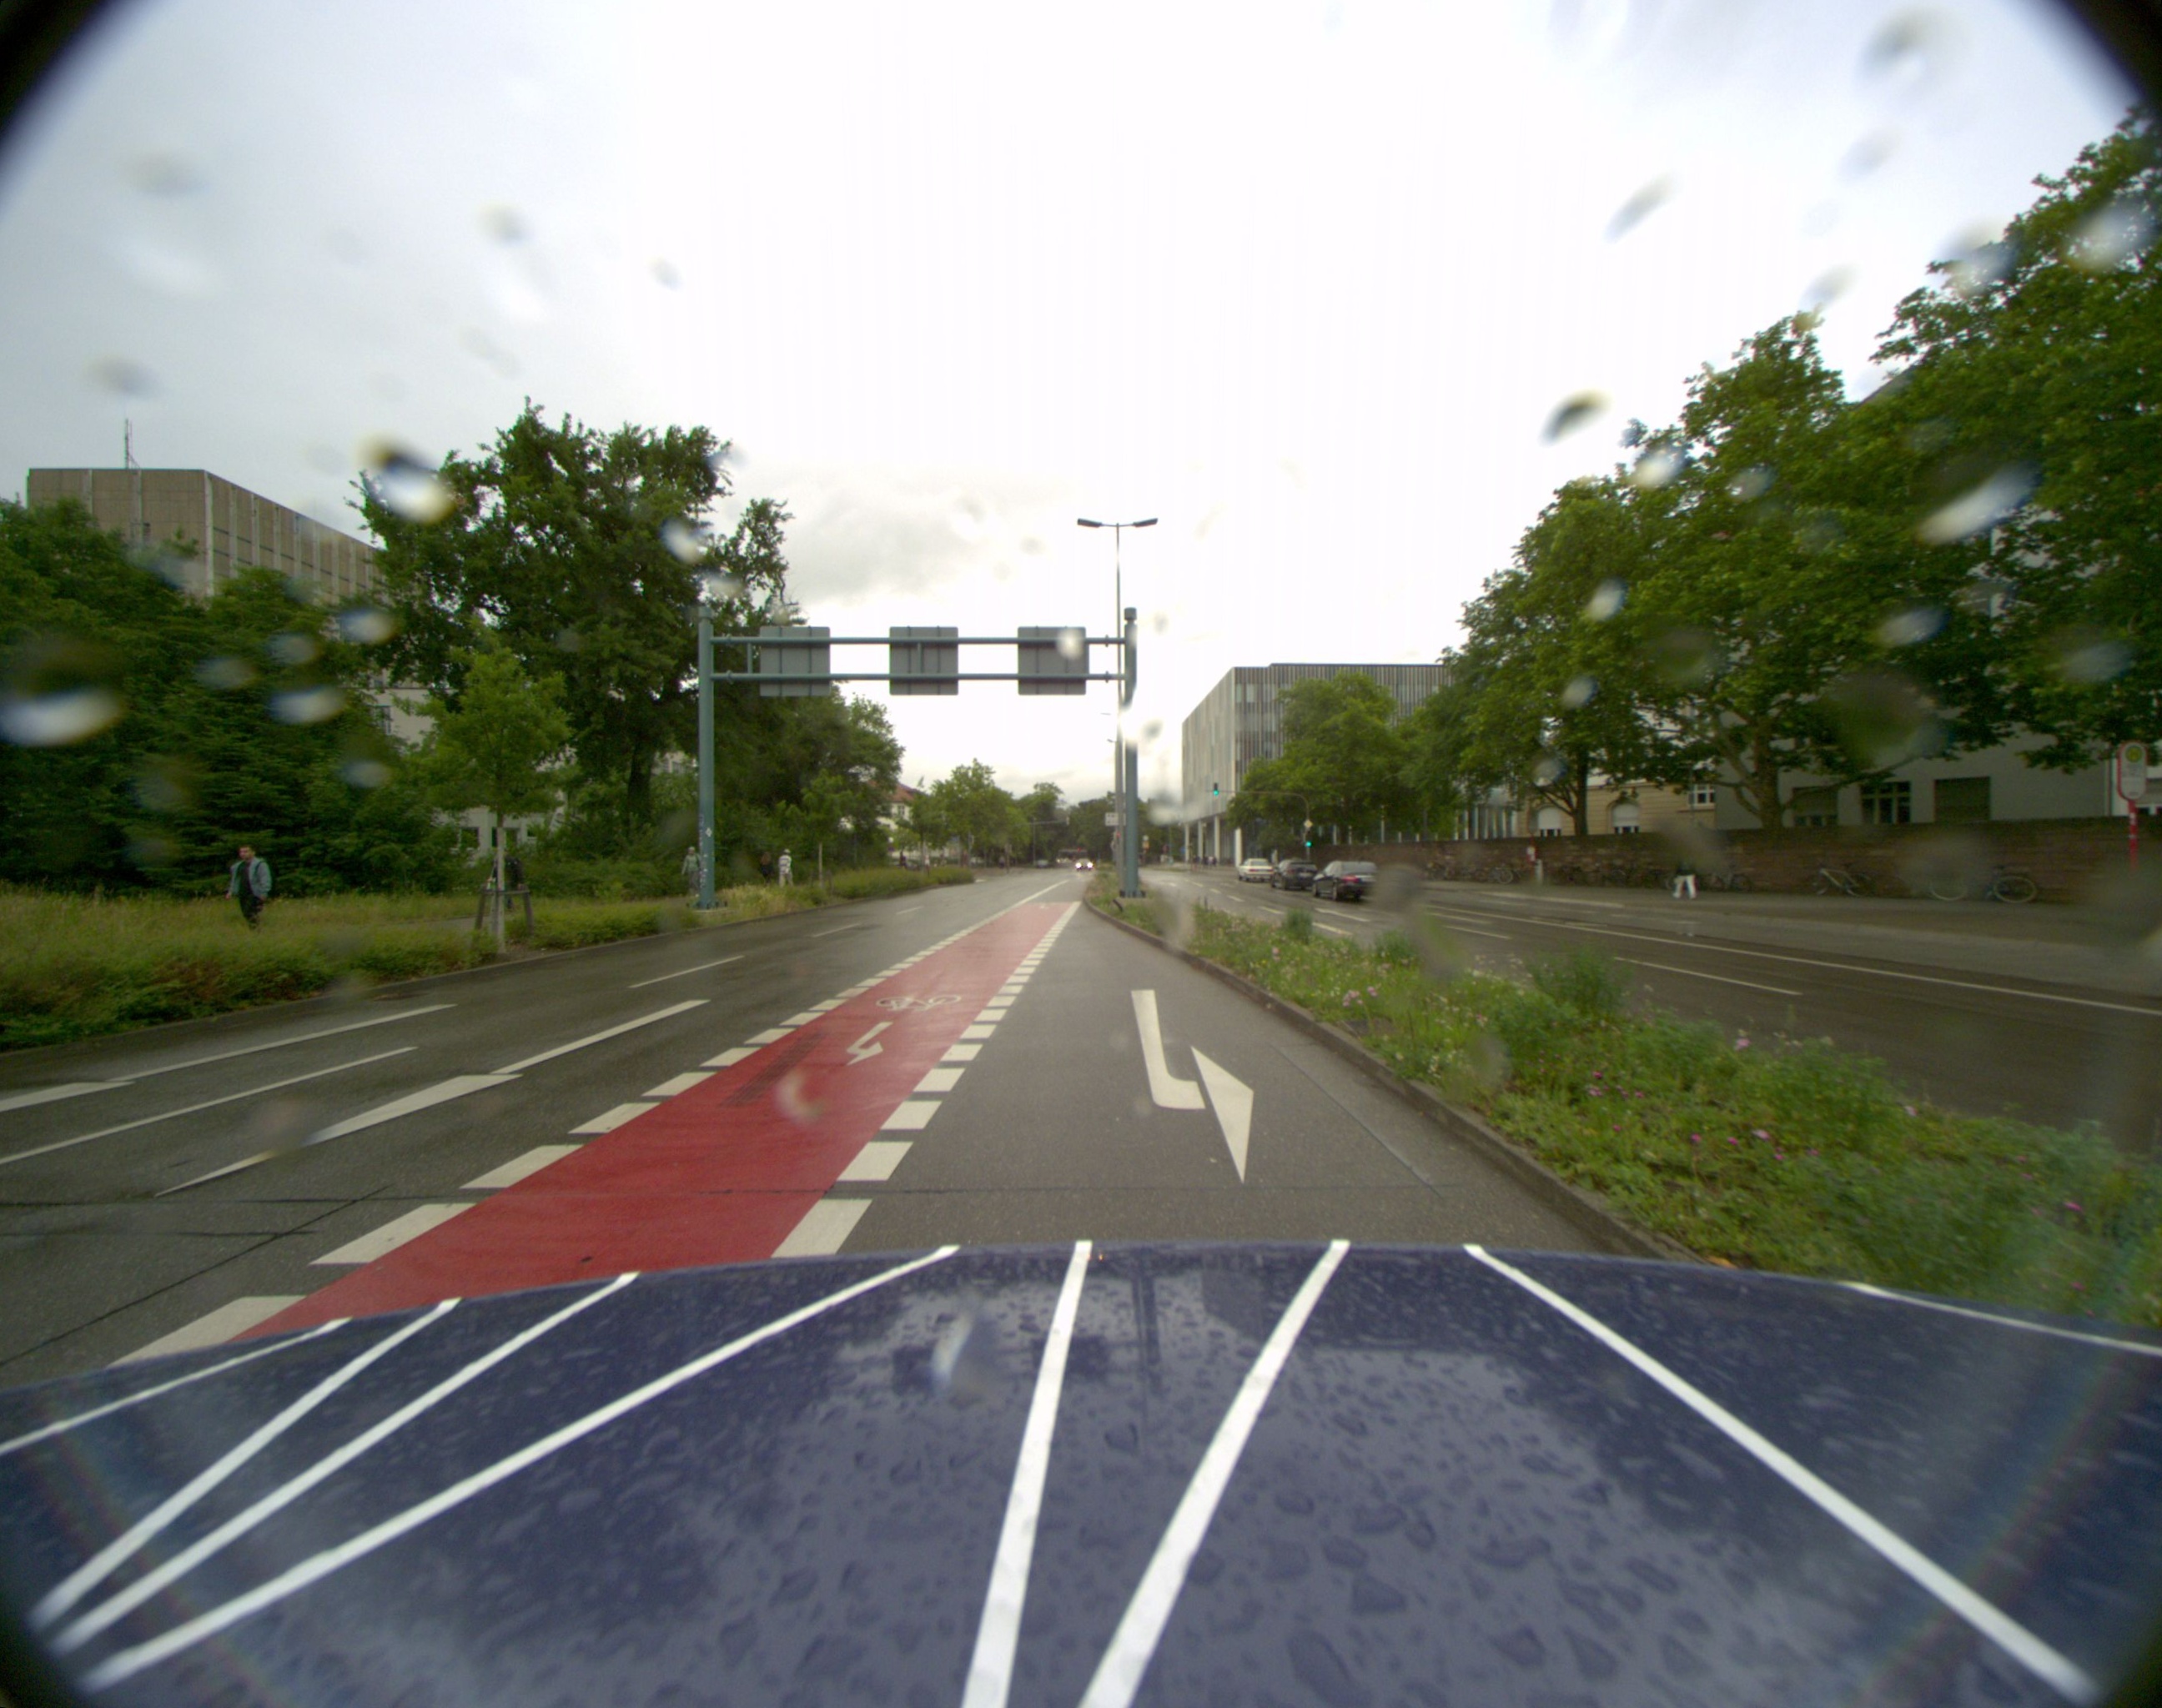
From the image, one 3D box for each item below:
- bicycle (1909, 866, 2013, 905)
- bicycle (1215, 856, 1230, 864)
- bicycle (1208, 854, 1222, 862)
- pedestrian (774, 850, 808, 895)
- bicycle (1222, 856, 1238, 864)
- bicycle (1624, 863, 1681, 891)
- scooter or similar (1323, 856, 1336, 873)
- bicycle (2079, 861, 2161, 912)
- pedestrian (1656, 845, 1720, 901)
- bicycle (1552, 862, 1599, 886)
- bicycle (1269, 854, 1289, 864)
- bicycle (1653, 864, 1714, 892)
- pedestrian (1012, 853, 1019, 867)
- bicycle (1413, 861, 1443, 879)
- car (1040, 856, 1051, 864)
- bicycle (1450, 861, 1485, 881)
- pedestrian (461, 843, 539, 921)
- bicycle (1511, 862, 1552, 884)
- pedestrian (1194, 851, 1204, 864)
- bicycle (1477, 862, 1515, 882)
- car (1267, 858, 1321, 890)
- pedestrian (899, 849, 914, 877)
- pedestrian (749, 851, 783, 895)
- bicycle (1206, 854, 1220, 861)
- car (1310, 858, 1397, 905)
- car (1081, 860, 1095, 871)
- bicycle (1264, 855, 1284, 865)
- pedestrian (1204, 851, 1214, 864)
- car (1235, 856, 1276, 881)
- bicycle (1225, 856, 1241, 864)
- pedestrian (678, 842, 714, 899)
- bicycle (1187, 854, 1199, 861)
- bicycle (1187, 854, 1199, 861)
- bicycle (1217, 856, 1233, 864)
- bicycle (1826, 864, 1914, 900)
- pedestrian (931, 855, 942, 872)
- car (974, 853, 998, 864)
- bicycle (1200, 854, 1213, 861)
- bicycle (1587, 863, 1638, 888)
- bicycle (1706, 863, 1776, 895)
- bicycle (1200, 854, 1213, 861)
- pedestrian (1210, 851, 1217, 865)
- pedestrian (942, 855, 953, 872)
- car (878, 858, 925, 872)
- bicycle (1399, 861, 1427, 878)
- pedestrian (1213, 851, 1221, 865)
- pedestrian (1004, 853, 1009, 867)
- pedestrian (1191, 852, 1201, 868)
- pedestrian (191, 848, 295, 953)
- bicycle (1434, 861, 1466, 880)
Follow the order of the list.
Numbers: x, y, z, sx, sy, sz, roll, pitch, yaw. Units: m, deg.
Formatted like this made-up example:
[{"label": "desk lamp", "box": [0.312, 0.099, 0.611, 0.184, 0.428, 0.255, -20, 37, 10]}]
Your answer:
[{"label": "bicycle", "box": [23.670, 0.834, 20.479, 0.733, 0.977, 1.700, -1, 0, -10]}, {"label": "bicycle", "box": [22.280, 0.969, 119.949, 2.286, 1.215, 0.598, 0, 0, -11]}, {"label": "bicycle", "box": [22.338, 0.641, 126.208, 2.282, 1.215, 0.599, 0, 0, 11]}, {"label": "pedestrian", "box": [-11.315, 0.745, 29.674, 0.935, 1.710, 0.829, -2, -2, 6]}, {"label": "bicycle", "box": [23.044, 0.961, 117.437, 2.286, 1.215, 0.598, 0, 0, -11]}, {"label": "bicycle", "box": [21.944, 0.869, 29.206, 0.733, 0.977, 1.700, -1, 0, -10]}, {"label": "scooter or similar", "box": [18.576, 0.801, 56.827, 0.392, 1.191, 1.141, -7, 1, -3]}, {"label": "bicycle", "box": [24.680, 0.741, 17.486, 0.575, 1.129, 1.988, 0, 0, -18]}, {"label": "pedestrian", "box": [19.068, 0.586, 23.903, 0.871, 1.686, 1.399, -1, 0, -5]}, {"label": "bicycle", "box": [21.205, 0.864, 32.617, 0.733, 0.977, 1.700, -1, 0, -10]}, {"label": "bicycle", "box": [23.608, 0.604, 90.493, 2.286, 1.215, 0.598, 0, 0, -11]}, {"label": "bicycle", "box": [22.077, 0.867, 27.859, 0.733, 0.977, 1.700, -1, 0, -10]}, {"label": "pedestrian", "box": [-8.257, 0.730, 95.575, 0.625, 1.813, 0.785, 0, 0, -21]}, {"label": "bicycle", "box": [19.714, 0.889, 43.183, 0.733, 0.977, 1.700, -1, 0, -10]}, {"label": "car", "box": [-6.008, 1.044, 128.072, 1.660, 1.259, 4.106, 0, 0, 0]}, {"label": "bicycle", "box": [19.994, 0.880, 39.319, 0.733, 0.977, 1.864, -1, 0, -5]}, {"label": "pedestrian", "box": [-13.357, 0.623, 17.497, 0.935, 1.737, 1.046, 0, 0, 8]}, {"label": "bicycle", "box": [20.950, 0.870, 35.371, 0.733, 0.977, 1.700, -1, 0, -10]}, {"label": "pedestrian", "box": [15.711, 0.480, 101.009, 0.941, 1.813, 0.921, -1, 0, -29]}, {"label": "bicycle", "box": [20.448, 0.876, 37.481, 0.733, 0.977, 1.700, -1, 0, -10]}, {"label": "car", "box": [10.348, 0.935, 37.163, 1.627, 1.407, 4.067, 1, 0, 2]}, {"label": "pedestrian", "box": [-11.807, 0.596, 51.421, 0.731, 1.848, 0.851, 0, 0, 8]}, {"label": "pedestrian", "box": [-12.376, 0.757, 29.846, 0.935, 1.693, 0.829, -2, -2, 6]}, {"label": "bicycle", "box": [22.317, 0.645, 128.331, 2.282, 1.215, 0.599, 0, 0, 11]}, {"label": "car", "box": [10.119, 0.962, 28.593, 1.812, 1.531, 4.704, 1, 0, 3]}, {"label": "car", "box": [0.846, 1.389, 92.431, 1.660, 1.356, 4.106, 0, 0, 0]}, {"label": "bicycle", "box": [23.213, 0.725, 91.483, 2.286, 1.215, 0.598, 0, 0, -11]}, {"label": "pedestrian", "box": [16.982, 0.475, 100.596, 0.940, 1.813, 0.922, 0, 0, -22]}, {"label": "car", "box": [10.752, 0.869, 47.042, 1.599, 1.407, 4.525, 1, 0, 2]}, {"label": "bicycle", "box": [23.367, 0.959, 116.818, 2.286, 1.215, 0.598, 0, 0, -11]}, {"label": "pedestrian", "box": [-13.725, 0.573, 27.091, 0.792, 2.002, 0.829, 0, 0, 8]}, {"label": "bicycle", "box": [21.551, 0.680, 146.685, 2.282, 1.215, 0.599, 0, 0, 11]}, {"label": "bicycle", "box": [21.292, 0.677, 144.185, 2.282, 1.215, 0.599, 0, 0, 11]}, {"label": "bicycle", "box": [22.537, 0.966, 118.850, 2.286, 1.215, 0.598, 0, 0, -11]}, {"label": "bicycle", "box": [23.366, 0.806, 22.543, 0.733, 0.977, 1.700, -1, 0, -10]}, {"label": "pedestrian", "box": [-14.169, 0.931, 74.525, 0.878, 1.597, 0.861, 0, 0, -28]}, {"label": "car", "box": [-17.786, 0.829, 141.812, 4.426, 1.862, 1.637, 0, 0, -7]}, {"label": "bicycle", "box": [21.888, 0.654, 132.219, 2.282, 1.215, 0.599, 0, 0, 11]}, {"label": "bicycle", "box": [21.584, 0.859, 30.906, 0.733, 0.977, 1.700, -1, 0, -10]}, {"label": "bicycle", "box": [22.115, 0.821, 25.503, 0.733, 0.977, 1.700, -1, 0, -10]}, {"label": "bicycle", "box": [21.743, 0.653, 131.395, 2.282, 1.215, 0.599, 0, 0, 11]}, {"label": "pedestrian", "box": [17.342, 0.525, 99.427, 0.788, 1.813, 0.623, 0, 0, -22]}, {"label": "pedestrian", "box": [-13.158, 0.929, 74.829, 0.878, 1.597, 0.862, 0, 0, -21]}, {"label": "car", "box": [-18.358, 1.129, 77.965, 4.387, 1.330, 1.772, 0, 3, -2]}, {"label": "bicycle", "box": [19.736, 0.892, 45.207, 0.733, 0.977, 1.700, -1, 0, -10]}, {"label": "pedestrian", "box": [17.579, 0.523, 98.470, 0.788, 1.813, 0.623, 0, 0, -22]}, {"label": "pedestrian", "box": [-9.339, 0.746, 95.155, 0.625, 1.813, 0.786, 0, 0, -13]}, {"label": "pedestrian", "box": [13.374, 0.689, 88.245, 0.788, 1.813, 0.794, 0, 0, -22]}, {"label": "pedestrian", "box": [-14.688, 0.791, 13.341, 0.935, 1.786, 0.829, 0, 0, 8]}, {"label": "bicycle", "box": [20.129, 0.884, 41.498, 0.733, 0.977, 1.700, -1, 0, -10]}]
